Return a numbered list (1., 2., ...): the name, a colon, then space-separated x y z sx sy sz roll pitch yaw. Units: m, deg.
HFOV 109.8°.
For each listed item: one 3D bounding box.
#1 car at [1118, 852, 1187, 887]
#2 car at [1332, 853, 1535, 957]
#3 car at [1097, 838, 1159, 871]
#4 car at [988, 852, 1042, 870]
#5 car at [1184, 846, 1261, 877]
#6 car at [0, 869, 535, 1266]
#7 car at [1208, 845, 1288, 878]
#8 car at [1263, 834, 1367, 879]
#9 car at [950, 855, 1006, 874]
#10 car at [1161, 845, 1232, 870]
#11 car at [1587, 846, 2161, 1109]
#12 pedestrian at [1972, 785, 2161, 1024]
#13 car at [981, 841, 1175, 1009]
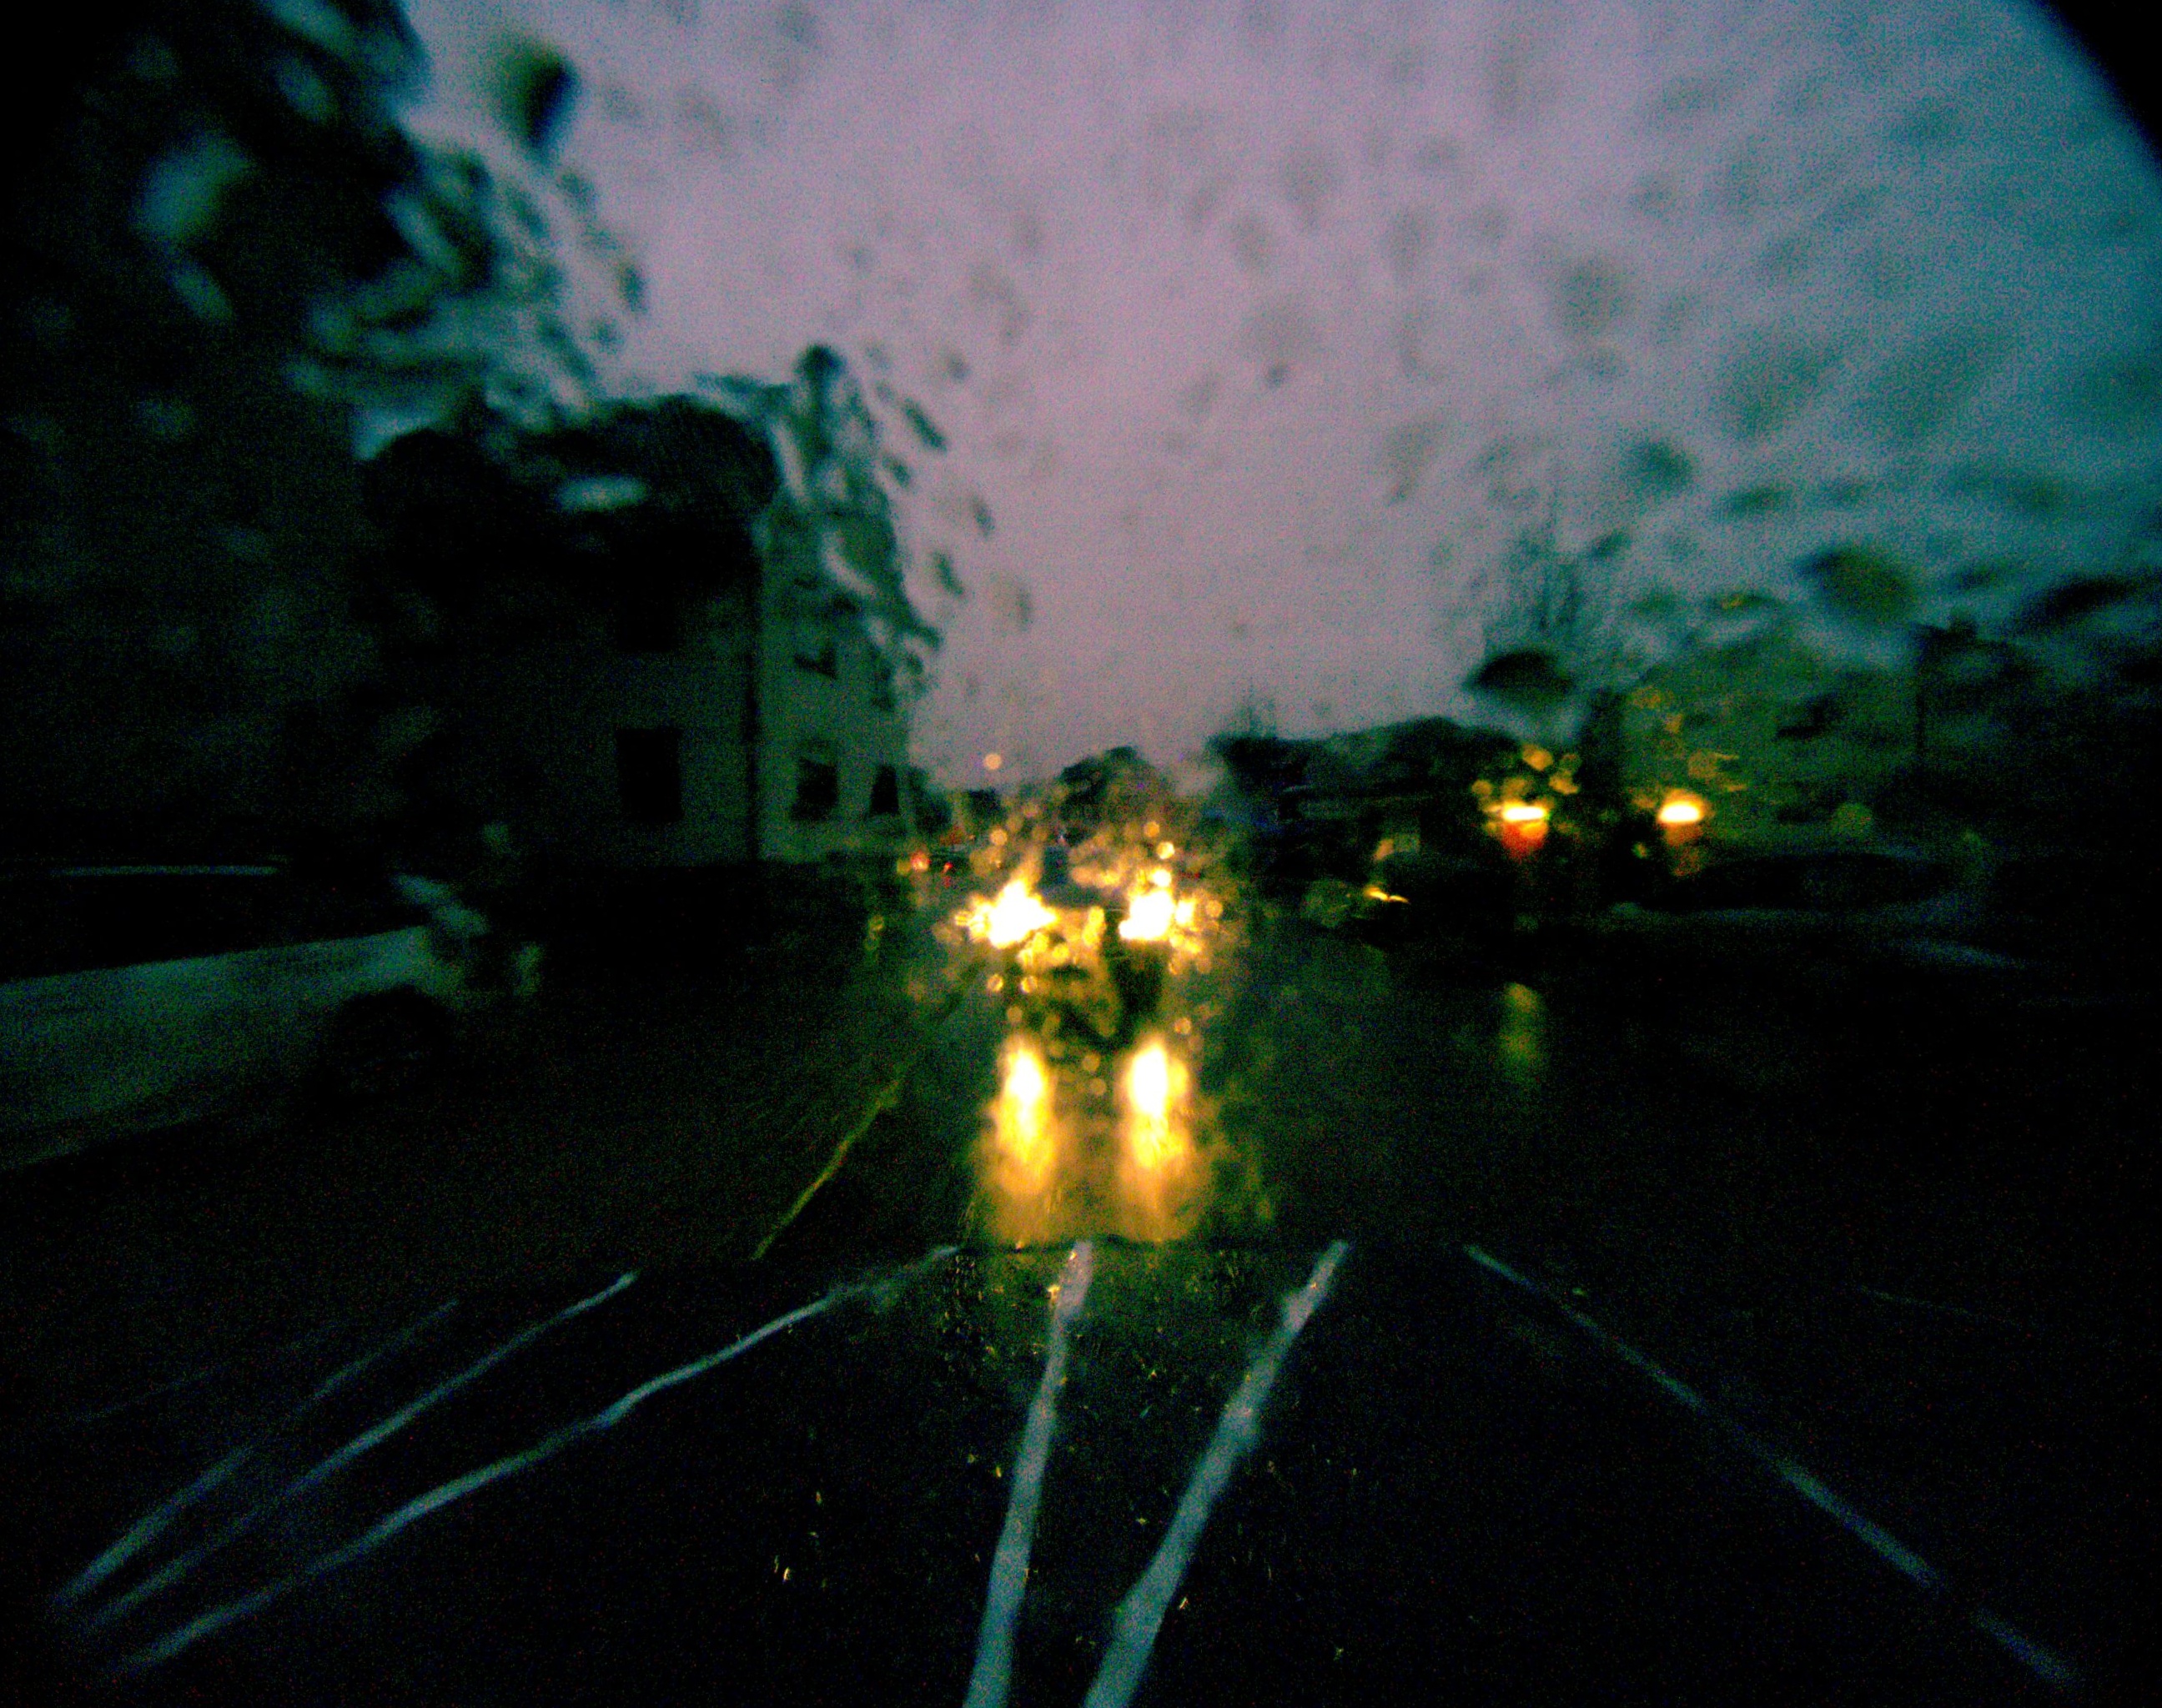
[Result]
1. car: 3.243 0.668 35.064 1.983 1.438 3.909 -2 1 -13
2. car: 6.233 0.804 14.045 1.840 1.526 4.139 -2 1 1
3. car: 3.141 0.029 51.424 3.996 2.002 2.000 -2 1 2
4. car: -5.634 0.594 64.627 4.249 1.291 1.997 -2 1 -18
5. car: 7.749 0.412 41.598 3.993 1.538 2.001 -2 1 11
6. car: -5.167 0.893 3.121 1.933 1.476 4.699 -2 0 9
7. car: 8.475 0.368 38.944 3.839 1.537 2.001 -2 1 8
8. car: 9.605 0.115 31.344 3.992 1.753 1.435 -1 1 16
9. car: -8.035 0.785 58.985 4.003 1.291 1.997 -2 1 -18
10. car: 6.735 0.184 44.568 3.995 1.291 2.001 -2 1 6
11. car: 6.560 0.727 6.472 1.880 1.526 3.670 -2 1 -3
12. pedestrian: 8.863 0.423 6.770 0.902 2.002 0.791 -1 1 10
13. car: -0.007 0.736 10.075 1.998 1.720 4.000 -2 1 1
